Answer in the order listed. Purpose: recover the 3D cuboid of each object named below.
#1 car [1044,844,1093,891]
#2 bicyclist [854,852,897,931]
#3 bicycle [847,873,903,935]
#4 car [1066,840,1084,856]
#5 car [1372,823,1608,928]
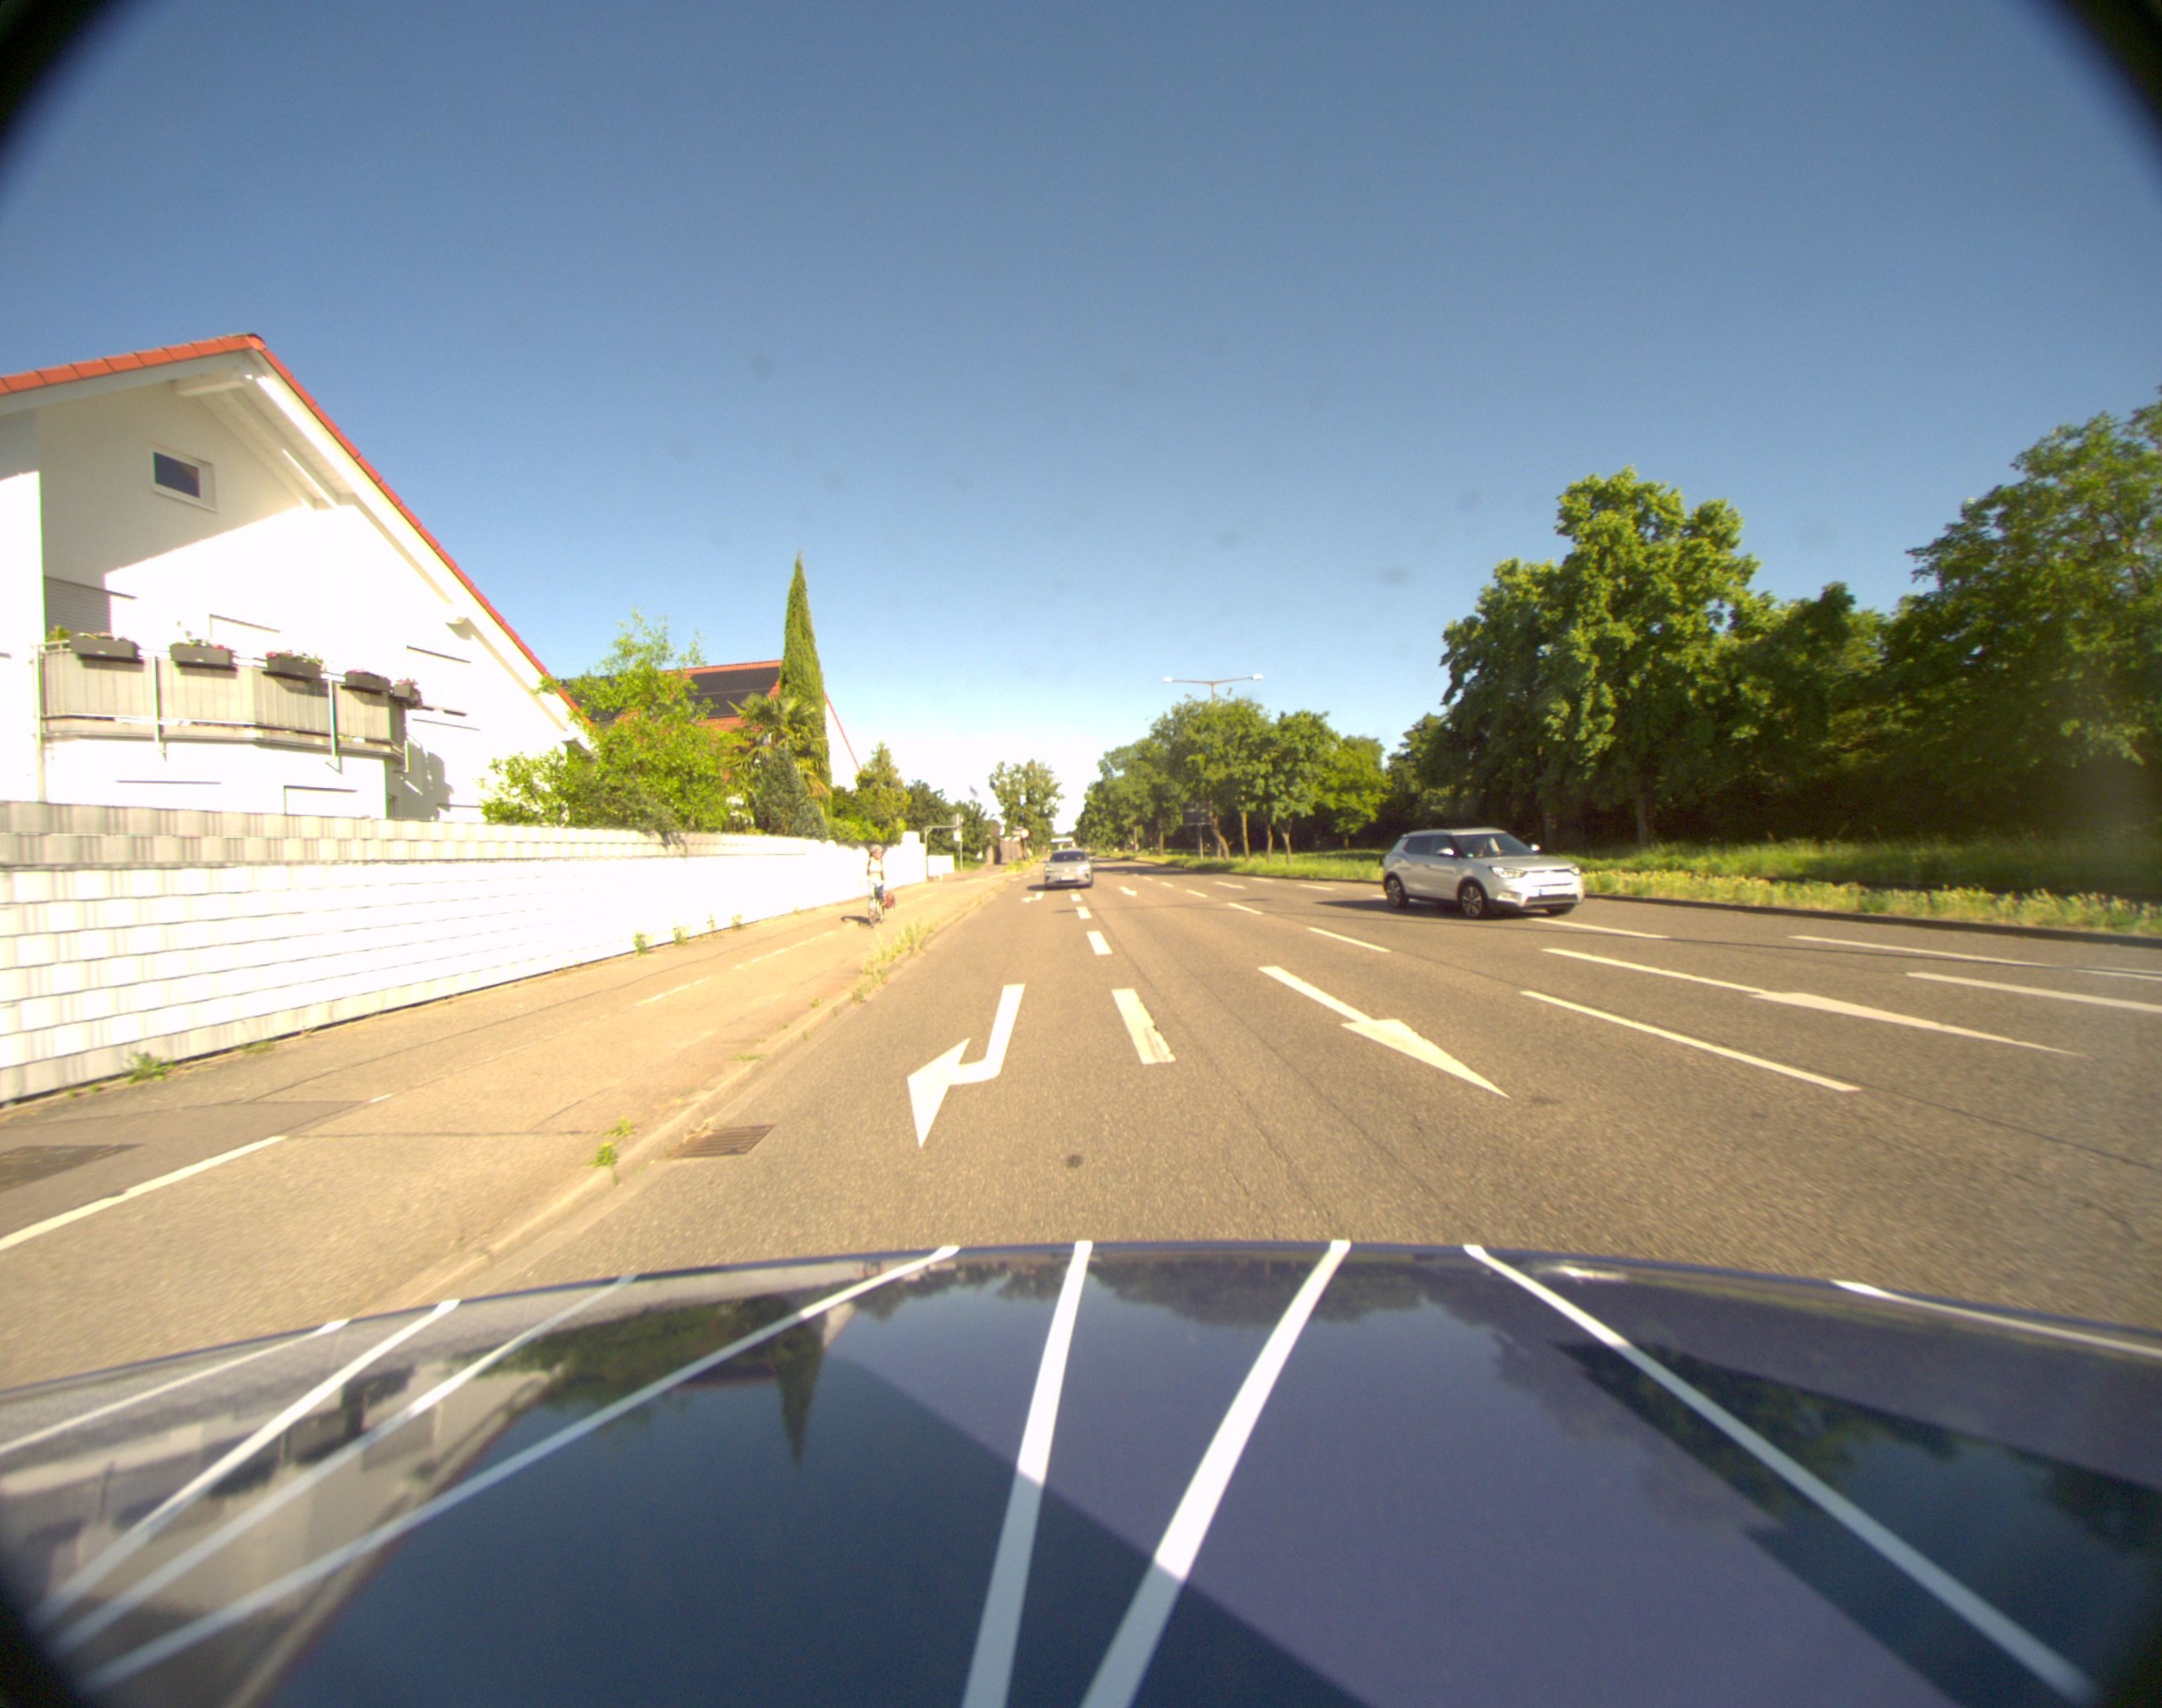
[{"bbox_3d":[-0.546,0.493,31.515,1.766,1.607,4.295,-5,2,-2],"label":"car"},{"bbox_3d":[-4.366,0.778,16.202,0.631,1.623,0.981,0,1,1],"label":"bicyclist"},{"bbox_3d":[-4.376,1.030,16.275,0.575,1.148,2.140,0,1,1],"label":"bicycle"},{"bbox_3d":[-0.665,-0.713,84.734,1.766,1.607,4.295,-4,2,-2],"label":"car"},{"bbox_3d":[7.414,0.300,14.315,1.790,1.601,4.102,-3,2,-8],"label":"car"}]
